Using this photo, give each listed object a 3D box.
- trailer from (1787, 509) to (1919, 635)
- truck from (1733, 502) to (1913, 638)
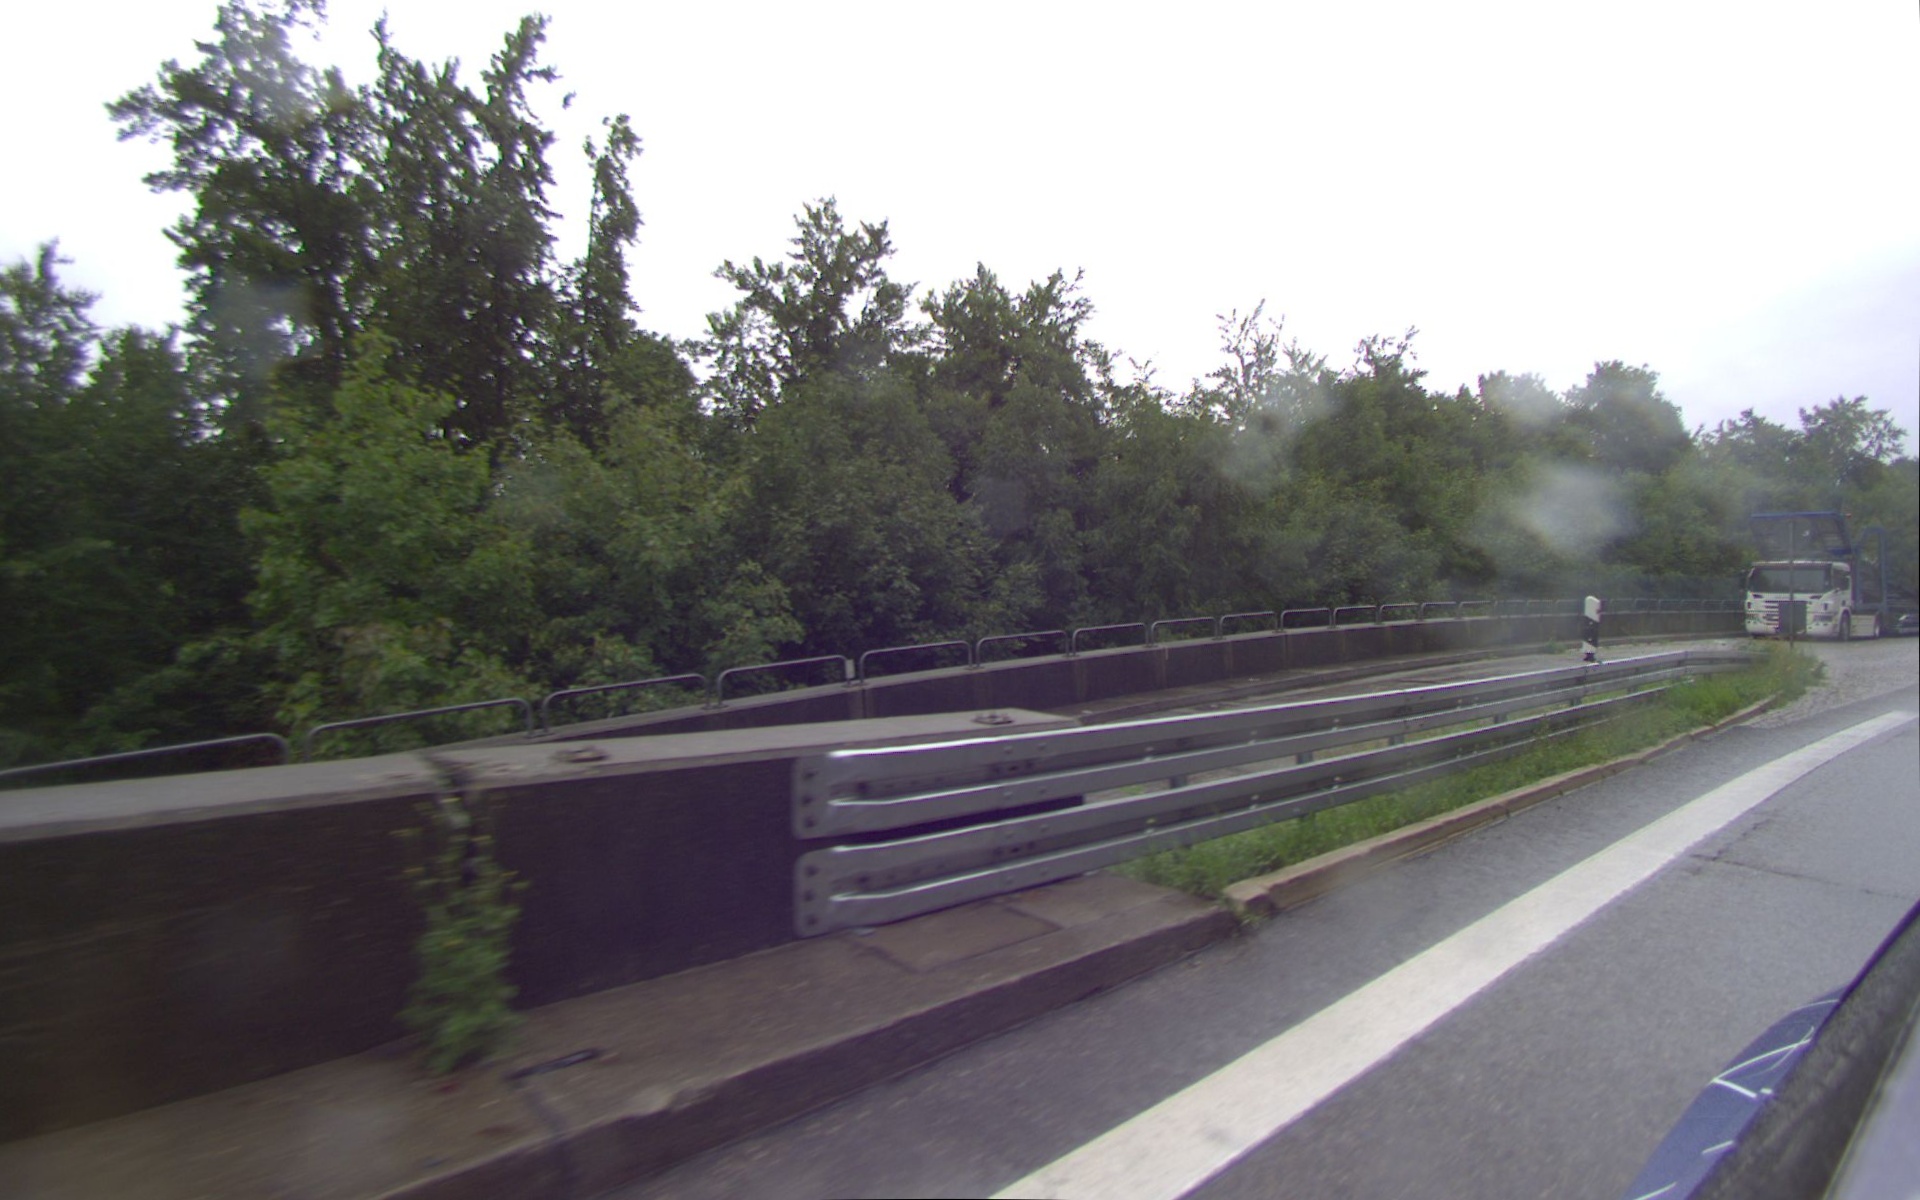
[{"bbox_3d":[37.285,-1.084,39.980,14.413,4.297,2.904,-1,2,-34],"label":"trailer"},{"bbox_3d":[29.981,-1.029,35.098,6.748,4.297,2.907,0,2,-34],"label":"truck"}]
